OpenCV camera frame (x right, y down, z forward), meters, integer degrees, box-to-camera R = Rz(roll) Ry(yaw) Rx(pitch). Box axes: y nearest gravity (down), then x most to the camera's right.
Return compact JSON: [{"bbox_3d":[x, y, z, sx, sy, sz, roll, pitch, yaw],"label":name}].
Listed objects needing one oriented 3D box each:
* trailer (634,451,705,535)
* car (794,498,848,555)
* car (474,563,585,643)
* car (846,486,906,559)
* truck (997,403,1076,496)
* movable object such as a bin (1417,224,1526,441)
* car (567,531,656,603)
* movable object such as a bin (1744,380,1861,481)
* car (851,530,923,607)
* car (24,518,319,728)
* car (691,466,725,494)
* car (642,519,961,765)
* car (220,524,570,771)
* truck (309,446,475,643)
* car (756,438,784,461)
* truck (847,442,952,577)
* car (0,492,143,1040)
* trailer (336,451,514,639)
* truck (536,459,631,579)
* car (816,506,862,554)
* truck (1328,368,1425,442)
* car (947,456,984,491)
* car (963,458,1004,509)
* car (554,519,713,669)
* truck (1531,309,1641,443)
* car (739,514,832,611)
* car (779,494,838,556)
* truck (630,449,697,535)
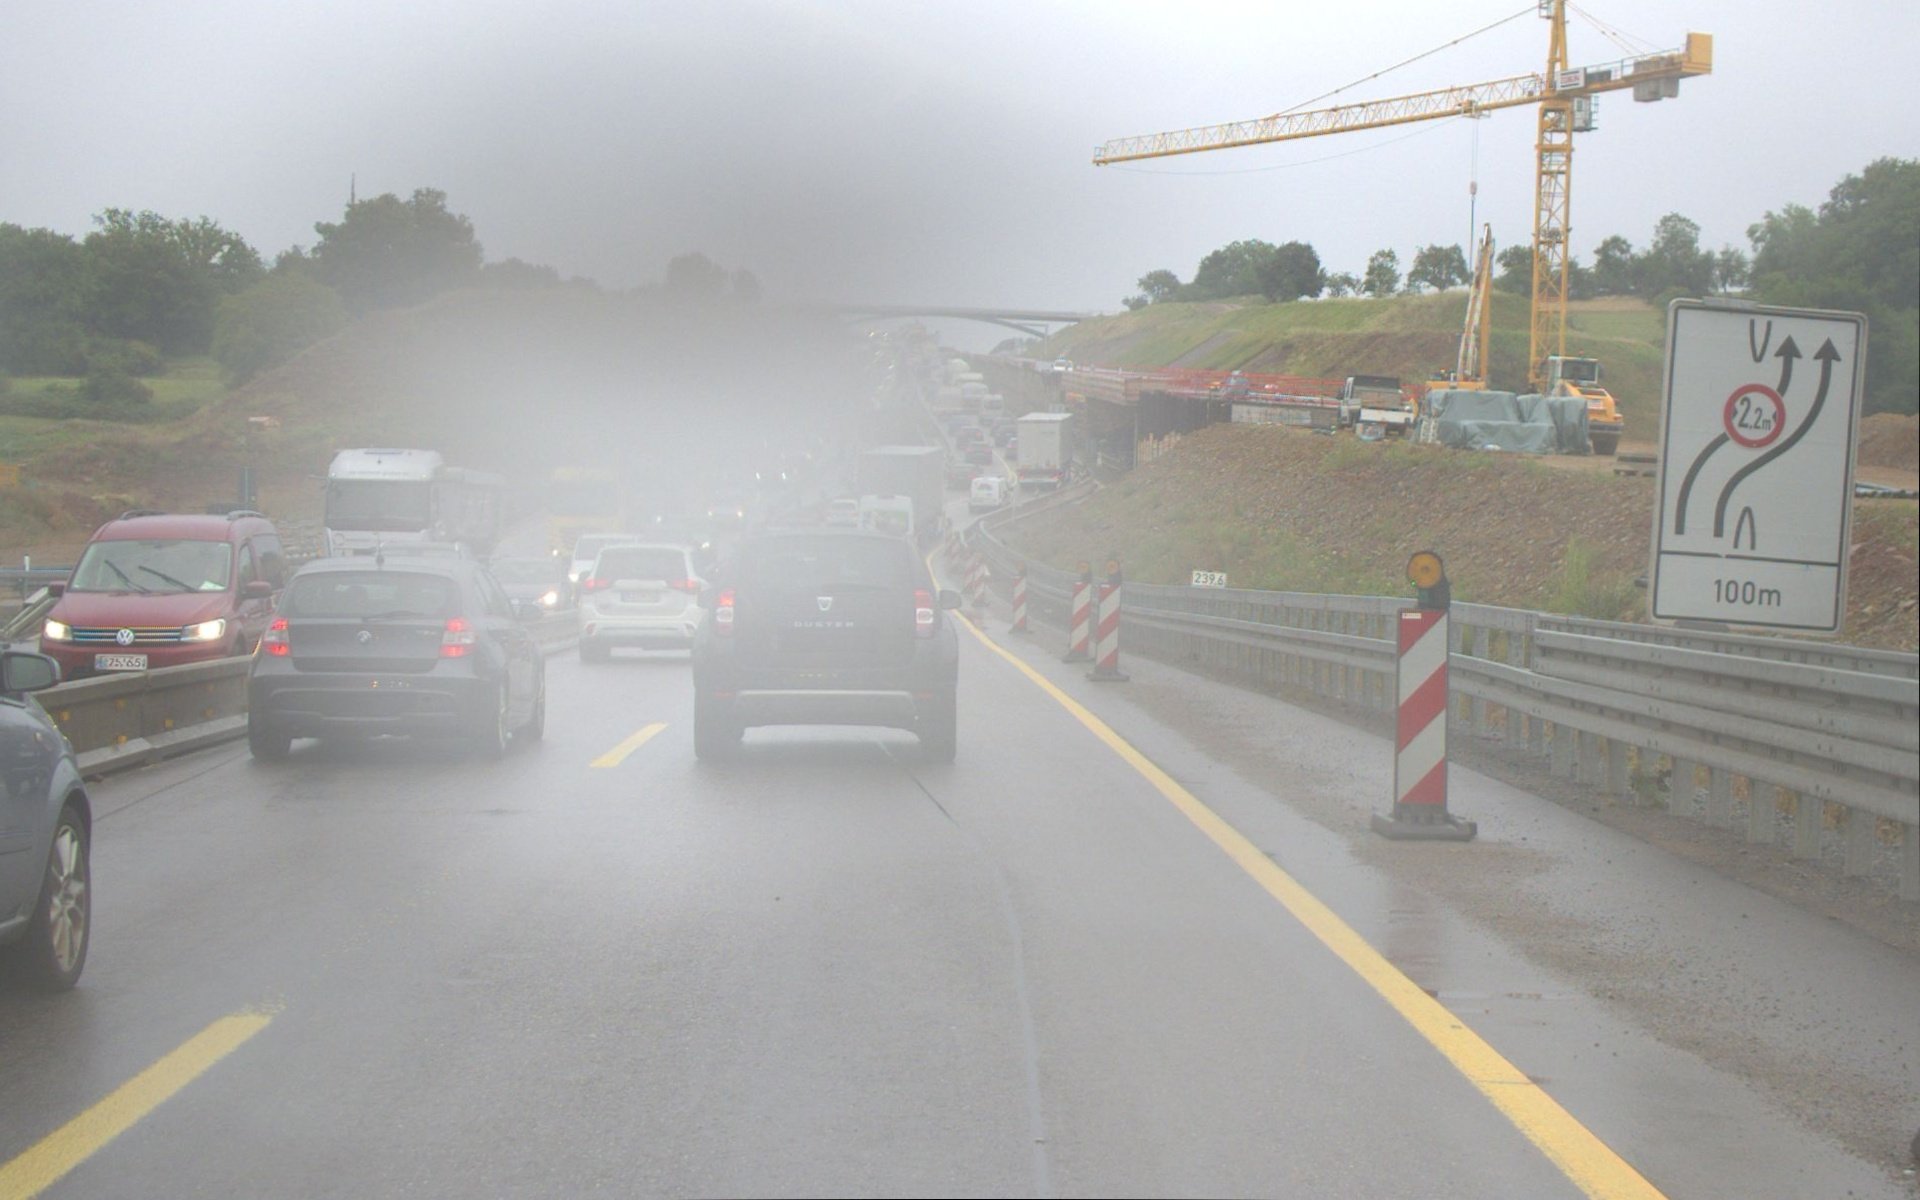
[{"bbox_3d":[-13.364,-4.878,158.817,2.620,3.665,12.005,1,1,-2],"label":"trailer"},{"bbox_3d":[-5.414,-2.860,134.565,1.993,2.155,4.141,1,1,-1],"label":"car"},{"bbox_3d":[-8.225,0.035,65.958,1.709,1.448,4.000,1,1,-1],"label":"car"},{"bbox_3d":[-2.956,-2.706,120.536,1.993,2.475,4.982,1,1,-2],"label":"car"},{"bbox_3d":[4.406,-8.751,202.055,3.803,5.025,12.923,1,1,-2],"label":"truck"},{"bbox_3d":[27.132,-13.990,181.874,4.721,10.804,10.297,1,1,13],"label":"movable object such as a bin"},{"bbox_3d":[-8.900,-0.858,88.228,1.874,1.786,5.360,0,1,-2],"label":"car"},{"bbox_3d":[32.236,-6.451,131.733,2.340,3.587,6.562,1,1,-4],"label":"movable object such as a bin"},{"bbox_3d":[-2.119,-0.917,98.711,1.993,2.155,4.141,1,1,-2],"label":"car"},{"bbox_3d":[-7.326,0.140,32.395,1.845,1.742,4.845,-1,2,-3],"label":"car"},{"bbox_3d":[-14.515,-6.909,198.362,1.787,1.541,4.001,1,2,-2],"label":"car"},{"bbox_3d":[-1.076,0.243,24.768,2.081,1.595,4.141,1,1,-1],"label":"car"},{"bbox_3d":[-3.938,0.281,24.606,1.993,1.595,4.141,1,1,-3],"label":"car"},{"bbox_3d":[-11.737,-1.153,71.423,2.686,3.913,5.274,0,1,-1],"label":"truck"},{"bbox_3d":[-13.214,-10.480,239.567,1.786,1.533,4.312,0,2,-2],"label":"car"},{"bbox_3d":[-2.458,-3.737,143.434,3.102,5.407,9.441,1,1,6],"label":"truck"},{"bbox_3d":[-3.777,0.475,9.691,1.993,1.595,4.141,1,1,-1],"label":"car"},{"bbox_3d":[-11.908,-1.238,77.306,2.686,3.950,9.820,0,1,-1],"label":"trailer"},{"bbox_3d":[-13.089,-2.798,119.916,2.749,4.048,6.148,1,1,-1],"label":"truck"},{"bbox_3d":[-5.537,-3.217,157.744,1.993,2.155,4.141,1,1,-1],"label":"car"},{"bbox_3d":[16.244,-7.595,134.436,2.645,2.546,6.985,1,1,-2],"label":"truck"},{"bbox_3d":[0.290,-7.320,198.551,1.993,2.006,4.001,0,3,-2],"label":"car"},{"bbox_3d":[1.214,-5.986,177.046,1.993,2.475,4.741,1,1,0],"label":"car"},{"bbox_3d":[-4.584,-0.113,48.735,1.993,2.007,3.894,1,1,-2],"label":"car"},{"bbox_3d":[21.153,-7.528,116.398,2.373,4.203,5.980,1,1,-2],"label":"truck"},{"bbox_3d":[-4.042,-0.875,79.104,1.993,2.155,4.141,1,1,-5],"label":"car"},{"bbox_3d":[-5.467,-2.706,124.440,1.993,2.155,4.141,1,1,-1],"label":"car"},{"bbox_3d":[-13.163,-4.767,153.033,2.620,3.665,6.596,1,1,-2],"label":"truck"}]
